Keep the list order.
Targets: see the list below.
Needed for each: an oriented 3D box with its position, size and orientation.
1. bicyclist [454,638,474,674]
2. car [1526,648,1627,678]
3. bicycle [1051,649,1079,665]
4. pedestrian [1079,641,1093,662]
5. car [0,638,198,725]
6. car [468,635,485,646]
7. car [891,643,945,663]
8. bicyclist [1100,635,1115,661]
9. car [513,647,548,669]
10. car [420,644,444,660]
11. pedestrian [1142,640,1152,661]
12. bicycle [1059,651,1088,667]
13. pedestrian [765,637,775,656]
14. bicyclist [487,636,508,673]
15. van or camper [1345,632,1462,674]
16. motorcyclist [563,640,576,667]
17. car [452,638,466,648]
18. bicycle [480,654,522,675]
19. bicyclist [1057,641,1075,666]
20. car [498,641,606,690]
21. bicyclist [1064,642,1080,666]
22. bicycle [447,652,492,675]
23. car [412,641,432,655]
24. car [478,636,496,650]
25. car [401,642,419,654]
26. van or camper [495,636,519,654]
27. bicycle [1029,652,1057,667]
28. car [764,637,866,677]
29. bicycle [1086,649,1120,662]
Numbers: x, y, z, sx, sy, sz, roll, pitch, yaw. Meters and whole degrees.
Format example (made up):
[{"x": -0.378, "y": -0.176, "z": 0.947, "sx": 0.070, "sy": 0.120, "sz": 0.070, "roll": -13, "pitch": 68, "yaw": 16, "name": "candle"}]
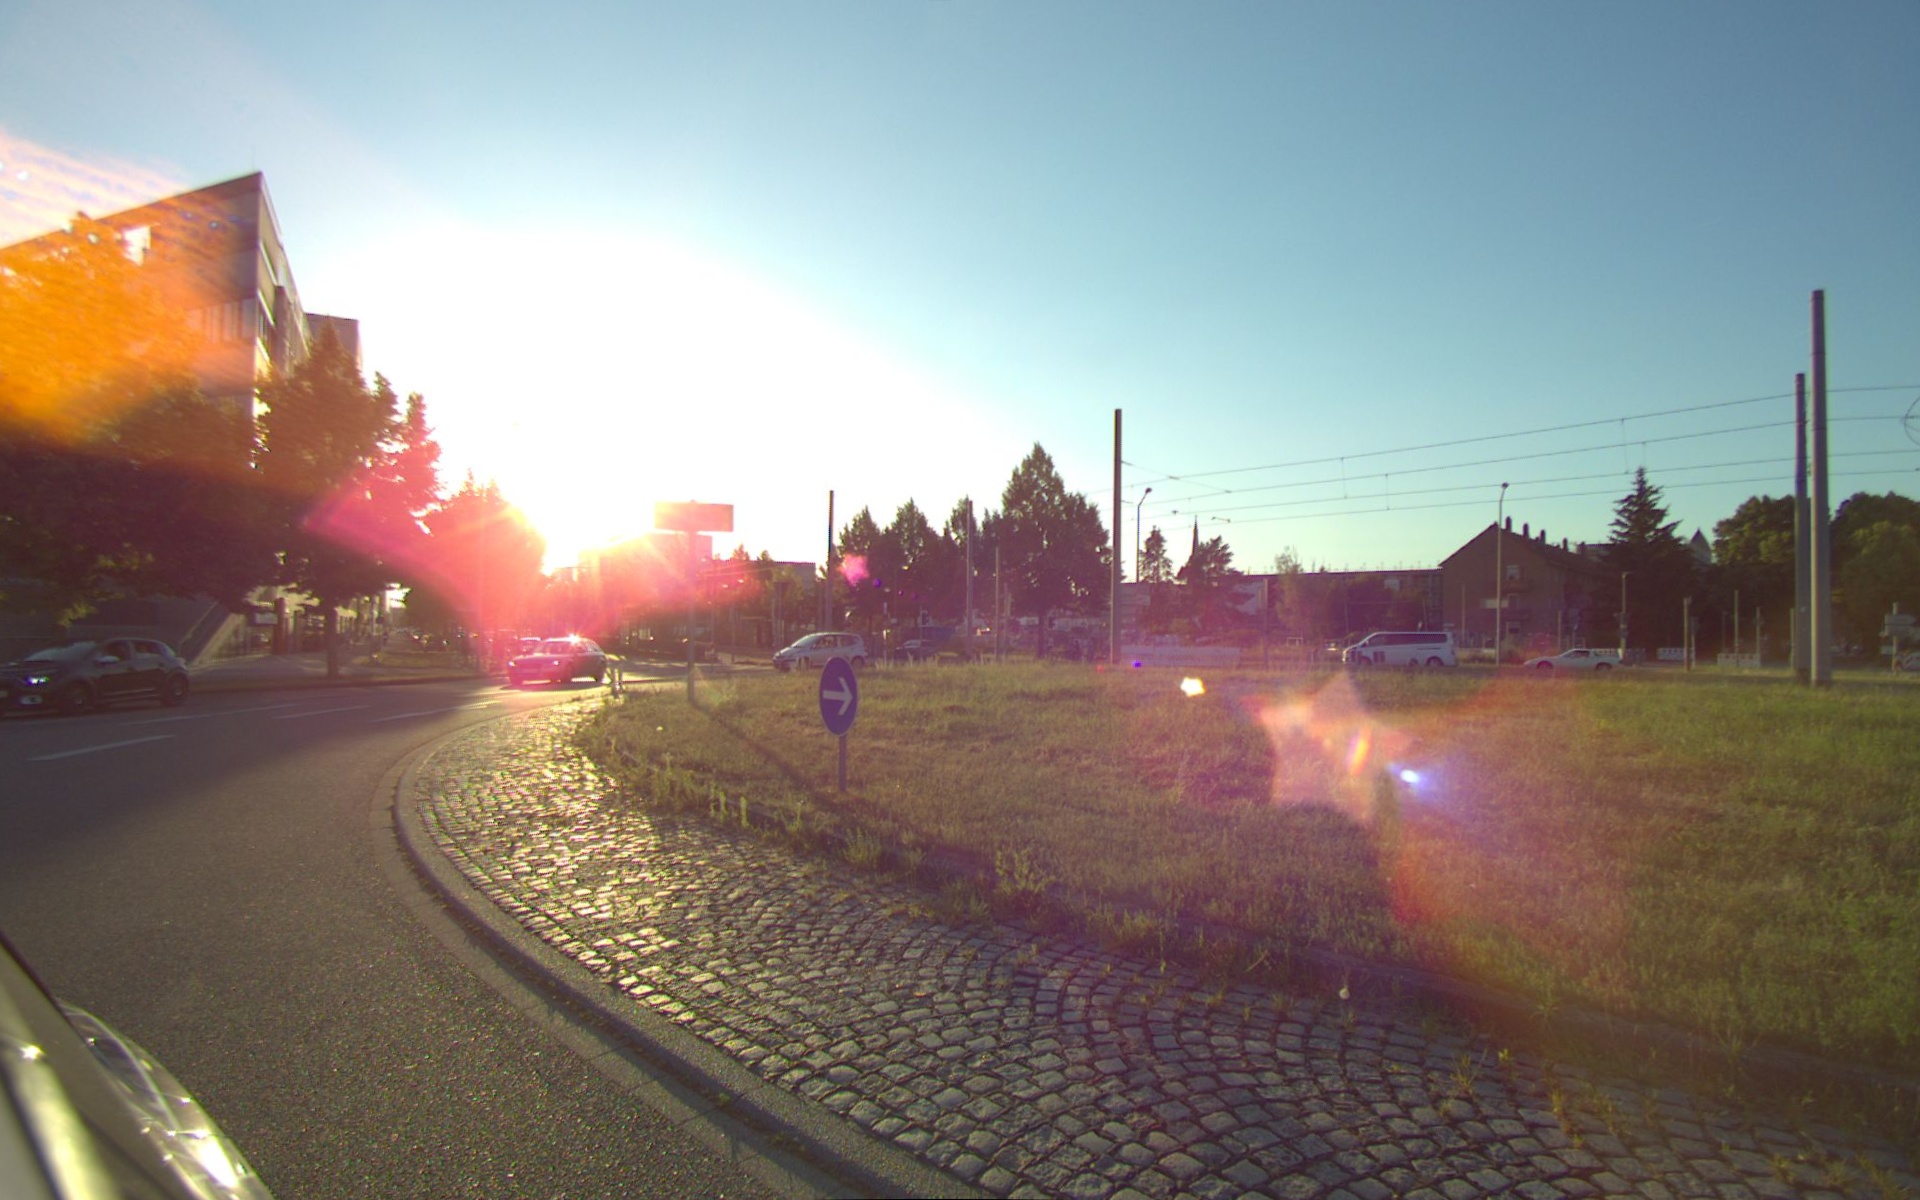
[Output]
[{"x": -22.826, "y": 2.575, "z": 46.563, "sx": 0.673, "sy": 1.661, "sz": 0.685, "roll": 2, "pitch": -3, "yaw": -39, "name": "bicyclist"}, {"x": 27.612, "y": 2.820, "z": 45.468, "sx": 3.765, "sy": 1.265, "sz": 1.564, "roll": -2, "pitch": -2, "yaw": 30, "name": "car"}, {"x": 6.786, "y": 3.693, "z": 65.349, "sx": 1.811, "sy": 0.988, "sz": 0.552, "roll": 1, "pitch": -3, "yaw": -26, "name": "bicycle"}, {"x": 8.374, "y": 3.434, "z": 67.130, "sx": 0.608, "sy": 1.377, "sz": 0.697, "roll": 1, "pitch": -3, "yaw": -26, "name": "pedestrian"}, {"x": -16.856, "y": 1.480, "z": 19.284, "sx": 1.776, "sy": 1.475, "sz": 4.002, "roll": 0, "pitch": -2, "yaw": -3, "name": "car"}, {"x": -73.970, "y": 6.161, "z": 154.779, "sx": 1.862, "sy": 1.635, "sz": 4.011, "roll": 1, "pitch": -2, "yaw": -32, "name": "car"}, {"x": -3.093, "y": 3.889, "z": 74.107, "sx": 1.898, "sy": 1.426, "sz": 4.665, "roll": 2, "pitch": -3, "yaw": -32, "name": "car"}, {"x": 9.460, "y": 3.092, "z": 64.962, "sx": 0.792, "sy": 1.646, "sz": 0.691, "roll": -1, "pitch": -3, "yaw": 20, "name": "bicyclist"}, {"x": -31.699, "y": 4.246, "z": 74.616, "sx": 1.860, "sy": 1.492, "sz": 4.063, "roll": 1, "pitch": -2, "yaw": -30, "name": "car"}, {"x": -48.385, "y": 4.754, "z": 92.717, "sx": 1.772, "sy": 1.475, "sz": 4.012, "roll": 1, "pitch": -3, "yaw": -29, "name": "car"}, {"x": 12.303, "y": 3.346, "z": 66.683, "sx": 0.501, "sy": 1.377, "sz": 0.429, "roll": -2, "pitch": -3, "yaw": 30, "name": "pedestrian"}, {"x": 7.224, "y": 3.750, "z": 64.619, "sx": 1.811, "sy": 0.988, "sz": 0.539, "roll": 1, "pitch": -3, "yaw": -26, "name": "bicycle"}, {"x": -16.476, "y": 4.042, "z": 87.715, "sx": 0.696, "sy": 1.645, "sz": 0.447, "roll": 1, "pitch": -3, "yaw": -31, "name": "pedestrian"}, {"x": -22.291, "y": 2.632, "z": 48.775, "sx": 0.834, "sy": 1.769, "sz": 0.807, "roll": 1, "pitch": -3, "yaw": -23, "name": "bicyclist"}, {"x": 22.434, "y": 2.695, "z": 51.424, "sx": 5.262, "sy": 2.025, "sz": 1.902, "roll": -2, "pitch": -3, "yaw": 20, "name": "van or camper"}, {"x": -20.868, "y": 2.830, "z": 54.060, "sx": 0.625, "sy": 1.419, "sz": 0.596, "roll": 1, "pitch": -2, "yaw": -24, "name": "motorcyclist"}, {"x": -81.952, "y": 7.039, "z": 165.474, "sx": 1.772, "sy": 1.475, "sz": 4.012, "roll": 1, "pitch": -3, "yaw": -29, "name": "car"}, {"x": -22.276, "y": 3.130, "z": 49.142, "sx": 1.831, "sy": 1.030, "sz": 0.439, "roll": 1, "pitch": -3, "yaw": -22, "name": "bicycle"}, {"x": 6.840, "y": 3.448, "z": 65.402, "sx": 0.800, "sy": 1.653, "sz": 0.817, "roll": 1, "pitch": -3, "yaw": -26, "name": "bicyclist"}, {"x": -12.822, "y": 2.028, "z": 32.129, "sx": 1.777, "sy": 1.434, "sz": 4.450, "roll": 0, "pitch": -2, "yaw": -2, "name": "car"}, {"x": 7.146, "y": 3.449, "z": 64.595, "sx": 0.800, "sy": 1.517, "sz": 0.594, "roll": 1, "pitch": -3, "yaw": -26, "name": "bicyclist"}, {"x": -22.591, "y": 2.905, "z": 46.630, "sx": 1.833, "sy": 1.030, "sz": 0.308, "roll": 2, "pitch": -3, "yaw": -39, "name": "bicycle"}, {"x": -56.527, "y": 5.002, "z": 106.337, "sx": 1.772, "sy": 1.475, "sz": 4.012, "roll": 1, "pitch": -3, "yaw": -29, "name": "car"}, {"x": -64.586, "y": 5.897, "z": 138.293, "sx": 1.690, "sy": 1.852, "sz": 4.011, "roll": 1, "pitch": -2, "yaw": -33, "name": "car"}, {"x": -65.518, "y": 5.719, "z": 120.568, "sx": 1.772, "sy": 1.475, "sz": 4.012, "roll": 1, "pitch": -3, "yaw": -29, "name": "car"}, {"x": -53.249, "y": 5.251, "z": 118.856, "sx": 1.966, "sy": 1.972, "sz": 5.345, "roll": 1, "pitch": -2, "yaw": -30, "name": "van or camper"}, {"x": 5.488, "y": 3.909, "z": 66.681, "sx": 1.811, "sy": 0.988, "sz": 0.552, "roll": 1, "pitch": -3, "yaw": -26, "name": "bicycle"}, {"x": -5.588, "y": 2.179, "z": 39.300, "sx": 3.652, "sy": 1.477, "sz": 1.609, "roll": 2, "pitch": -3, "yaw": -41, "name": "car"}, {"x": 9.220, "y": 3.572, "z": 65.140, "sx": 2.119, "sy": 0.852, "sz": 0.509, "roll": -1, "pitch": -3, "yaw": 20, "name": "bicycle"}]
